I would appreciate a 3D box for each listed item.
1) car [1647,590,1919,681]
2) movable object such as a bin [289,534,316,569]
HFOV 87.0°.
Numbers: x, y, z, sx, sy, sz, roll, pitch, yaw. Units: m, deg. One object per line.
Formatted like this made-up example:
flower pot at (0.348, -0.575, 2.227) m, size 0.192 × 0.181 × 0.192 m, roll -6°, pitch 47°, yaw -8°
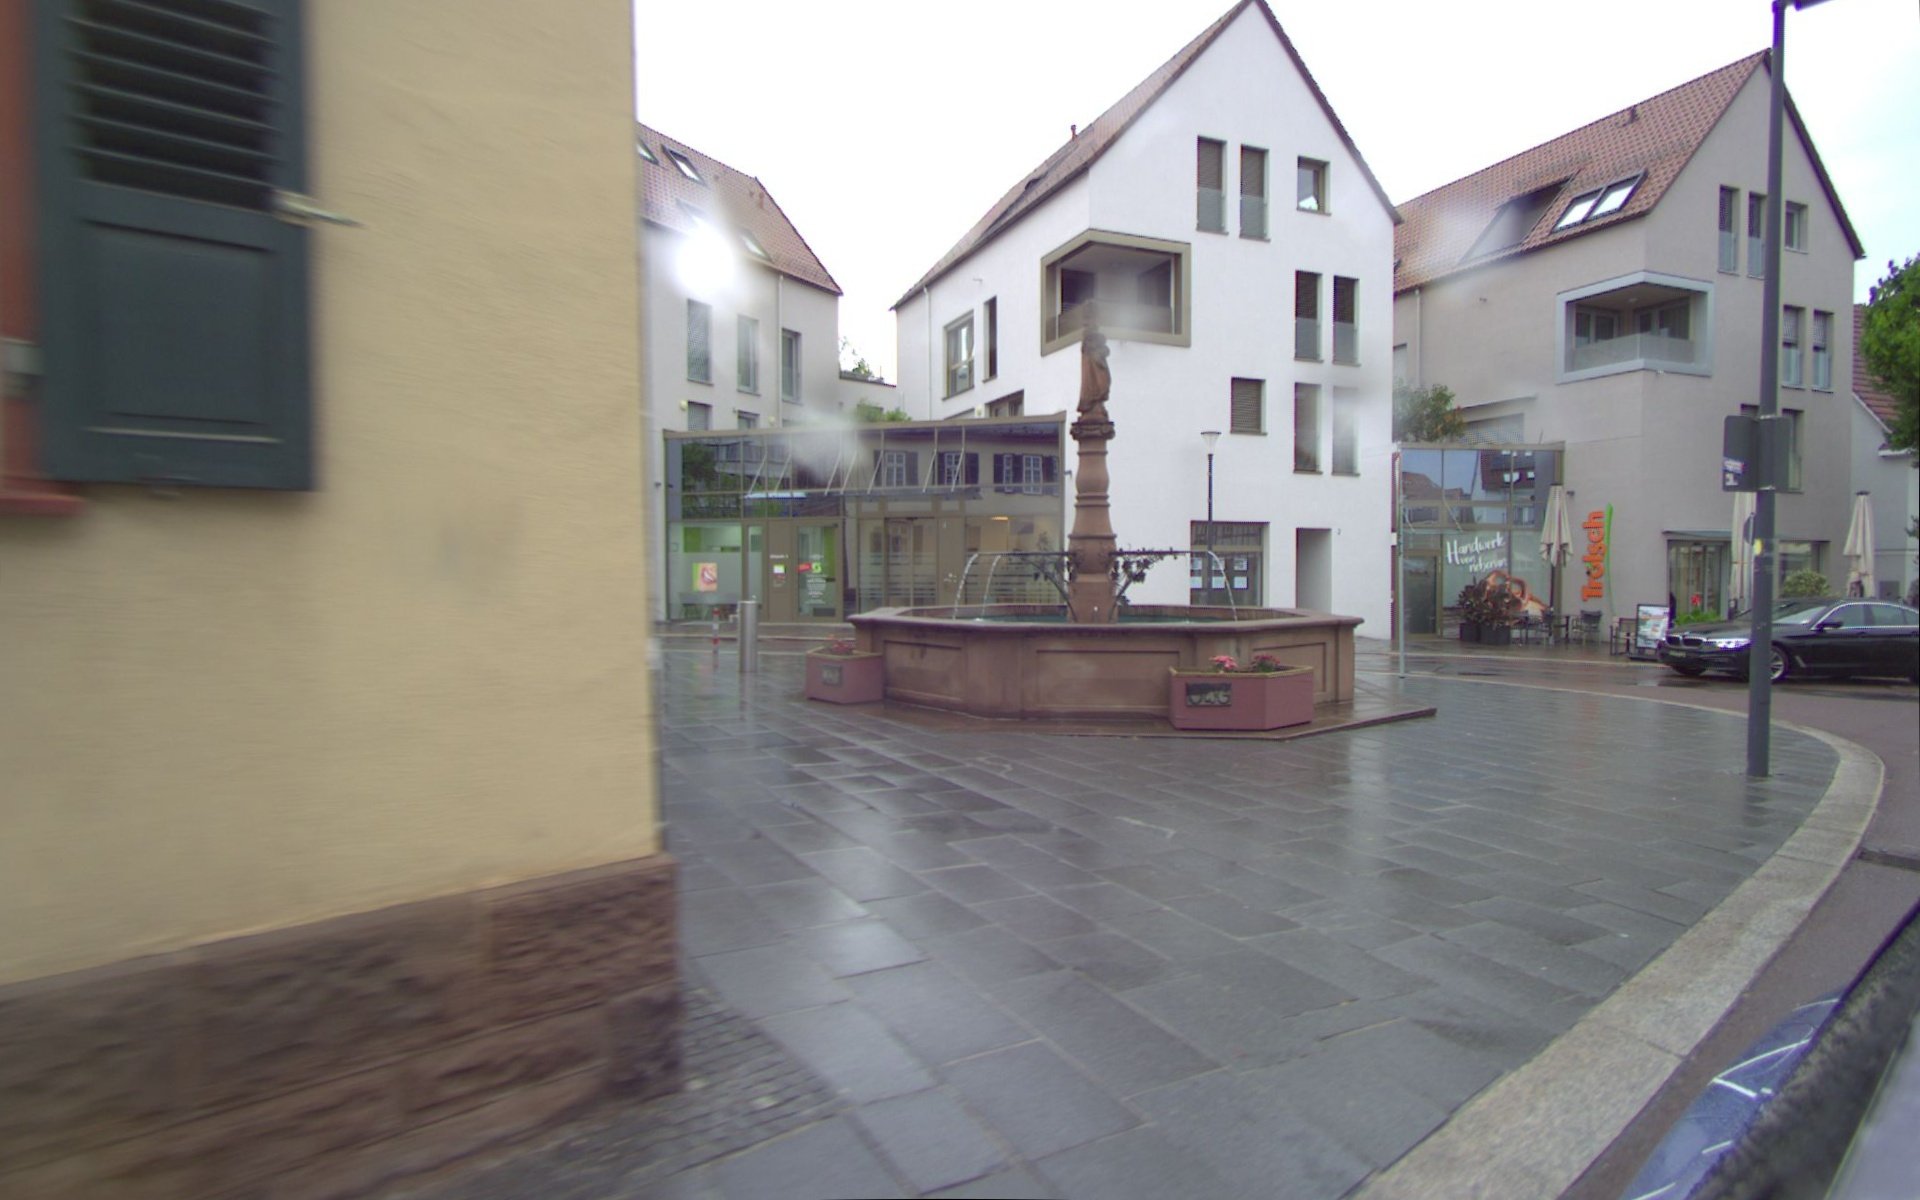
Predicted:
car at (14.685, 0.582, 17.428) m, size 4.361 × 1.387 × 1.881 m, roll 1°, pitch 2°, yaw 0°
movable object such as a bin at (-24.819, -1.838, 38.202) m, size 0.766 × 1.274 × 1.017 m, roll 0°, pitch 3°, yaw -39°
